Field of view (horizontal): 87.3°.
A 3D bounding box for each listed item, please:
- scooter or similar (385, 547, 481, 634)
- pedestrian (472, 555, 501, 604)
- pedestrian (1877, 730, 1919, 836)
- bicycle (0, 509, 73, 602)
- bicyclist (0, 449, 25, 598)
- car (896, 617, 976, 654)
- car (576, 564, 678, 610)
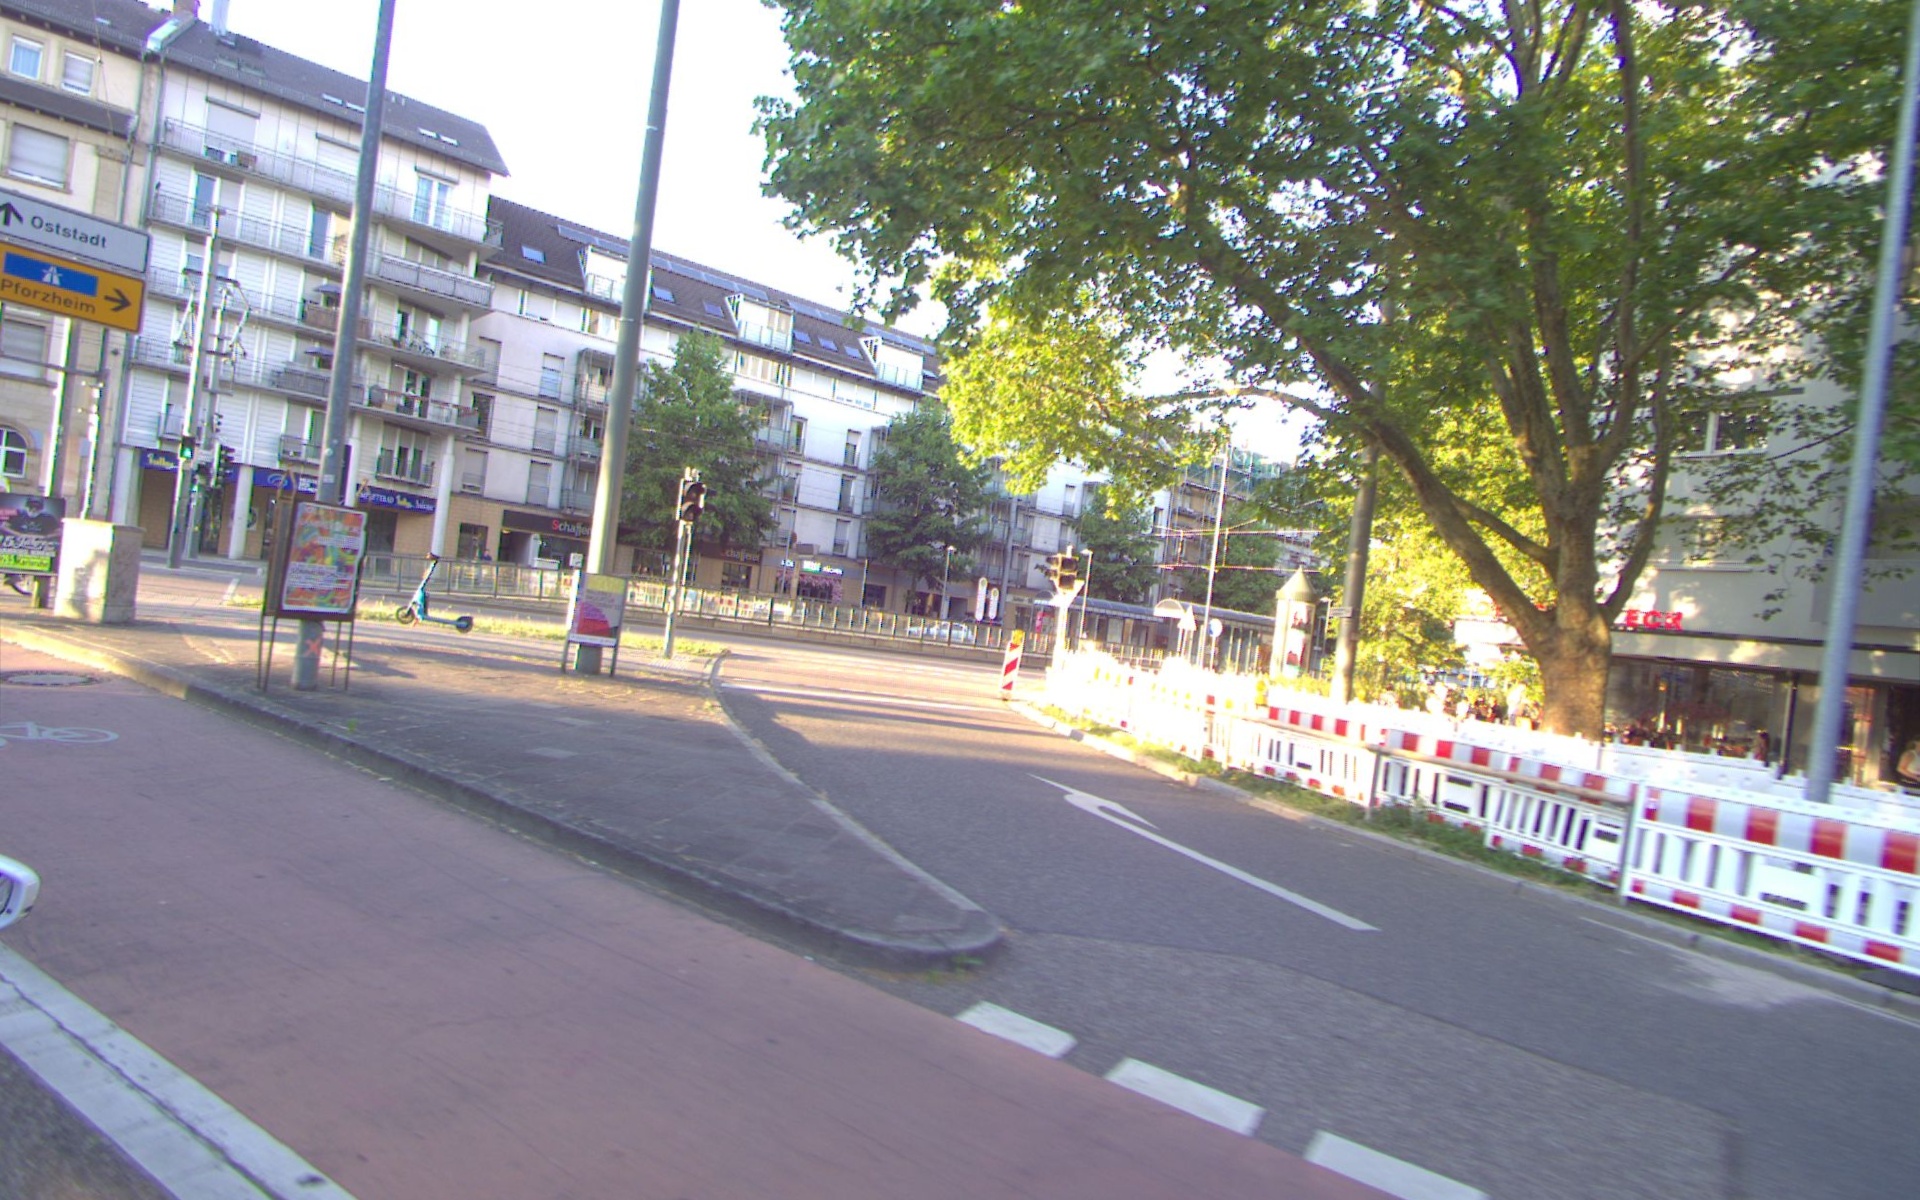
[{"bbox_3d":[-8.745,-0.144,16.729,1.217,1.264,0.513,8,-1,-19],"label":"scooter or similar"},{"bbox_3d":[-22.443,-0.973,47.672,0.864,2.234,0.812,8,-1,-39],"label":"pedestrian"},{"bbox_3d":[15.336,2.942,16.072,0.733,1.607,0.641,7,-1,25],"label":"pedestrian"},{"bbox_3d":[-12.356,-0.615,12.559,0.617,1.122,2.073,7,-2,0],"label":"bicycle"},{"bbox_3d":[-12.311,-0.998,12.428,0.617,1.845,0.699,7,-1,0],"label":"bicyclist"},{"bbox_3d":[-1.320,1.971,56.069,3.964,1.503,1.833,9,-2,-34],"label":"car"},{"bbox_3d":[-15.239,-0.584,46.122,3.971,1.503,1.830,9,-3,-39],"label":"car"}]
